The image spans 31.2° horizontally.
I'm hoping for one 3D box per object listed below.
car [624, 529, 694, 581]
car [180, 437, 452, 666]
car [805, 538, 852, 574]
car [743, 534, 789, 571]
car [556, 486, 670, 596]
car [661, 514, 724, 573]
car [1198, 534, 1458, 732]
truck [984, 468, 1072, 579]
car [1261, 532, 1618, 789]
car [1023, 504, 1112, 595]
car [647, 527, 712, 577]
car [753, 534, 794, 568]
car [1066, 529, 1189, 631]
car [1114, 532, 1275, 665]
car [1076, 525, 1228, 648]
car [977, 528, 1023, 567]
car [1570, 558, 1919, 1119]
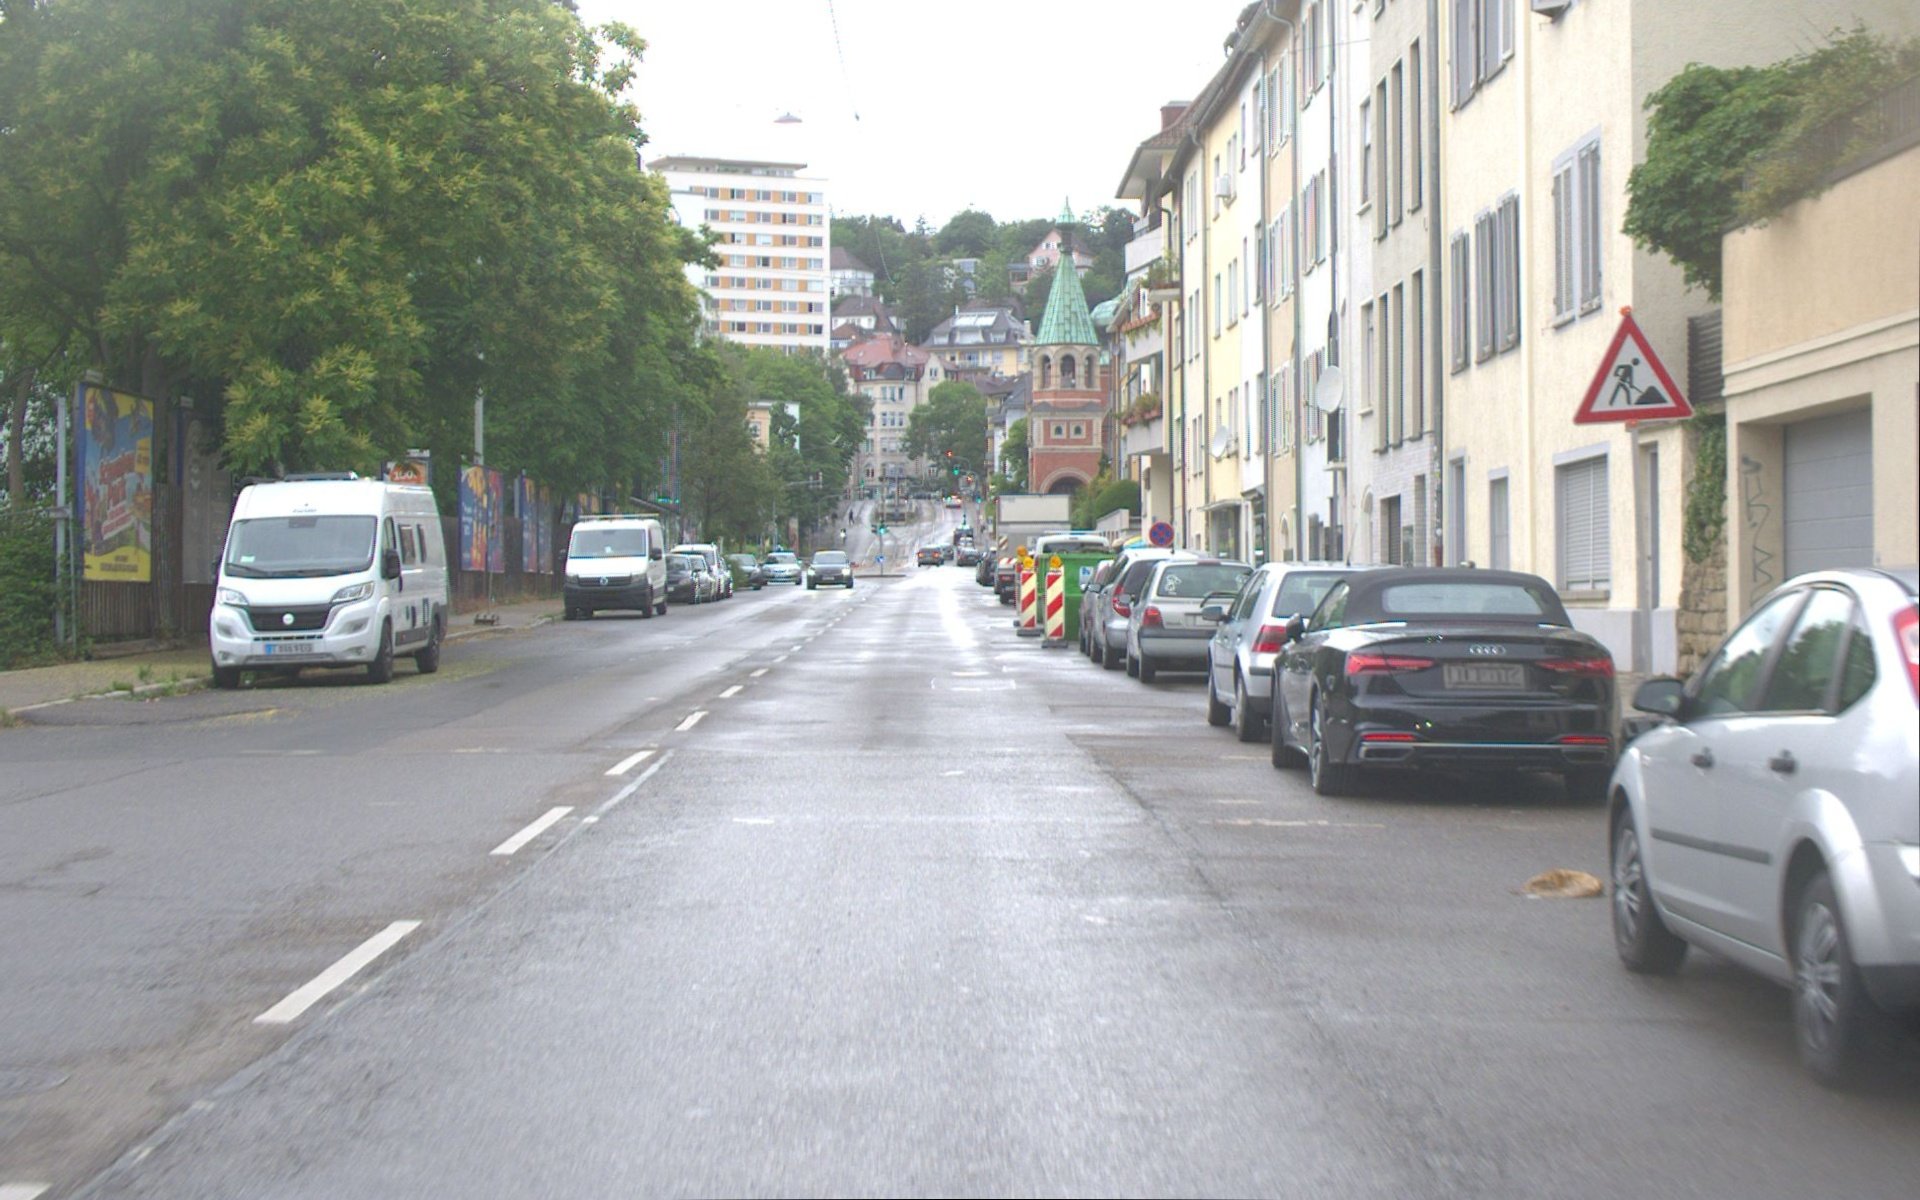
[{"bbox_3d":[-8.441,-1.275,96.700,1.682,1.394,3.911,-1,1,-1],"label":"car"},{"bbox_3d":[-7.897,-0.637,42.892,2.230,2.570,6.538,-2,1,-1],"label":"car"},{"bbox_3d":[-5.267,-1.775,137.125,1.805,1.411,4.384,0,1,-3],"label":"car"},{"bbox_3d":[-7.773,-1.908,138.013,1.803,1.445,4.658,-1,1,-3],"label":"car"},{"bbox_3d":[-8.187,-1.435,81.633,2.012,2.478,5.984,-1,1,0],"label":"car"},{"bbox_3d":[-8.530,-1.793,109.994,1.723,1.794,4.344,-1,1,-1],"label":"car"},{"bbox_3d":[2.954,0.218,28.272,1.629,1.449,3.760,1,2,-1],"label":"car"},{"bbox_3d":[1.965,-2.245,101.662,2.469,3.161,7.036,0,1,0],"label":"truck"},{"bbox_3d":[2.930,0.312,21.698,1.629,1.449,3.760,1,1,-1],"label":"car"},{"bbox_3d":[2.338,-1.135,75.641,1.817,1.917,4.239,-1,1,0],"label":"car"},{"bbox_3d":[-8.450,-1.438,103.853,1.682,1.457,4.277,-1,1,-1],"label":"car"},{"bbox_3d":[-8.285,-2.172,153.010,1.709,1.445,4.295,-1,1,-1],"label":"car"},{"bbox_3d":[2.491,-0.329,51.823,1.626,1.406,3.842,1,2,0],"label":"car"},{"bbox_3d":[2.742,-0.054,40.901,1.558,1.449,3.760,1,2,-1],"label":"car"},{"bbox_3d":[2.535,-0.222,46.258,1.716,1.519,4.001,1,2,-1],"label":"car"},{"bbox_3d":[1.712,-2.263,147.542,1.817,1.647,4.076,1,1,-1],"label":"car"},{"bbox_3d":[3.236,0.611,11.058,1.688,1.449,4.235,1,1,-1],"label":"car"}]
